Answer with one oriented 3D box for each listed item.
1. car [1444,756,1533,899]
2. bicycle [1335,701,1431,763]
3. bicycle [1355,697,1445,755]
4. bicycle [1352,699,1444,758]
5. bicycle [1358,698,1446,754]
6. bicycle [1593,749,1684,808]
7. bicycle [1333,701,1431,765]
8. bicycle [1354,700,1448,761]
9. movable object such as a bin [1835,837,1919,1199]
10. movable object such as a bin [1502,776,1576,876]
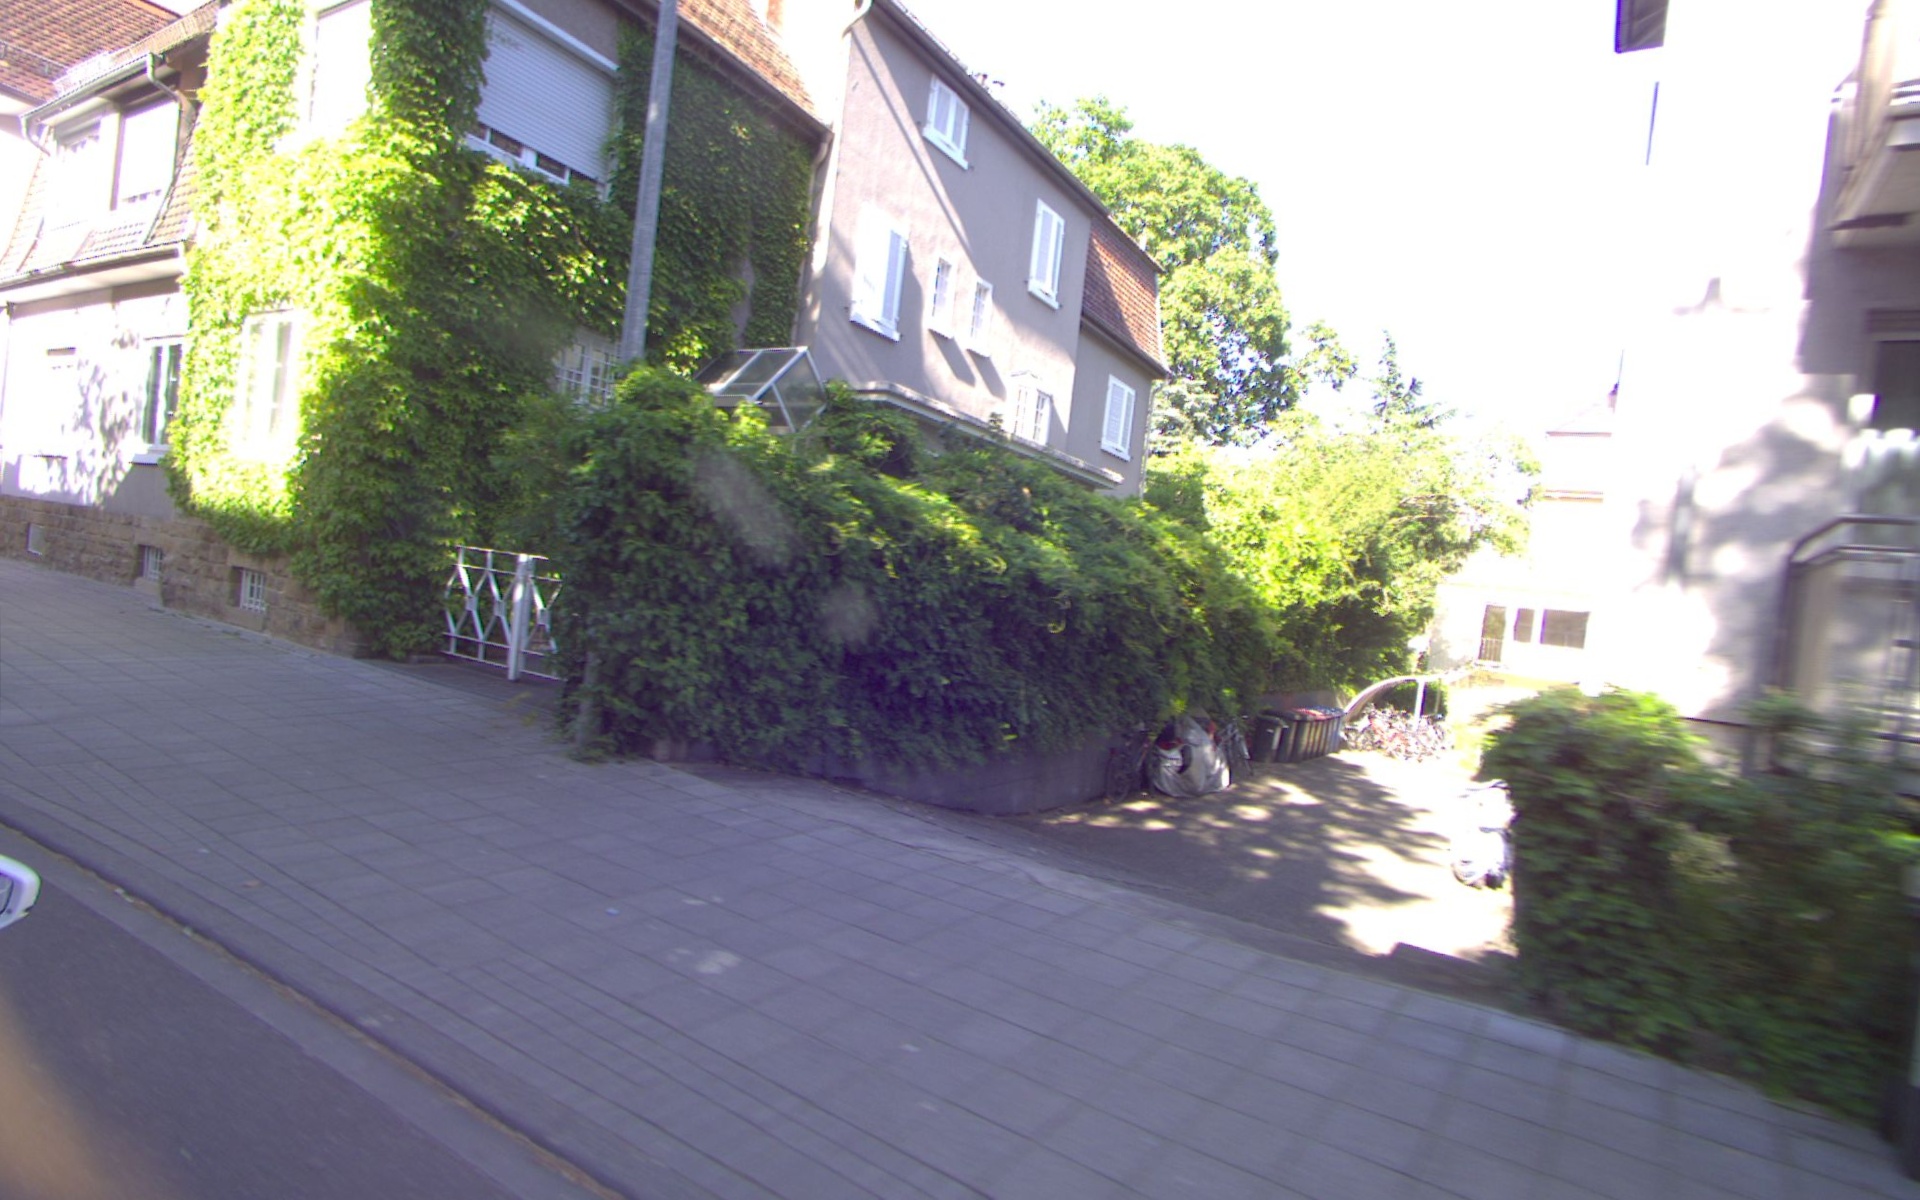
[{"bbox_3d":[6.494,2.725,12.475,0.646,1.315,2.738,8,-1,24],"label":"car"},{"bbox_3d":[10.763,3.347,25.661,2.094,1.210,0.499,8,0,23],"label":"bicycle"},{"bbox_3d":[12.083,3.458,27.665,2.094,1.210,0.499,8,0,23],"label":"bicycle"},{"bbox_3d":[11.683,3.416,26.899,2.094,1.210,0.499,8,0,23],"label":"bicycle"},{"bbox_3d":[12.404,3.523,28.298,2.094,1.210,0.499,8,0,23],"label":"bicycle"},{"bbox_3d":[15.531,4.085,23.070,1.619,0.993,0.454,8,0,34],"label":"bicycle"},{"bbox_3d":[10.504,3.294,25.108,2.094,1.210,0.499,8,0,23],"label":"bicycle"},{"bbox_3d":[11.503,3.400,26.316,2.094,1.210,0.499,8,0,23],"label":"bicycle"},{"bbox_3d":[3.031,1.262,2.952,0.564,0.929,0.502,7,5,37],"label":"movable object such as a bin"},{"bbox_3d":[7.804,3.030,13.586,0.660,1.147,0.658,8,0,25],"label":"movable object such as a bin"}]
